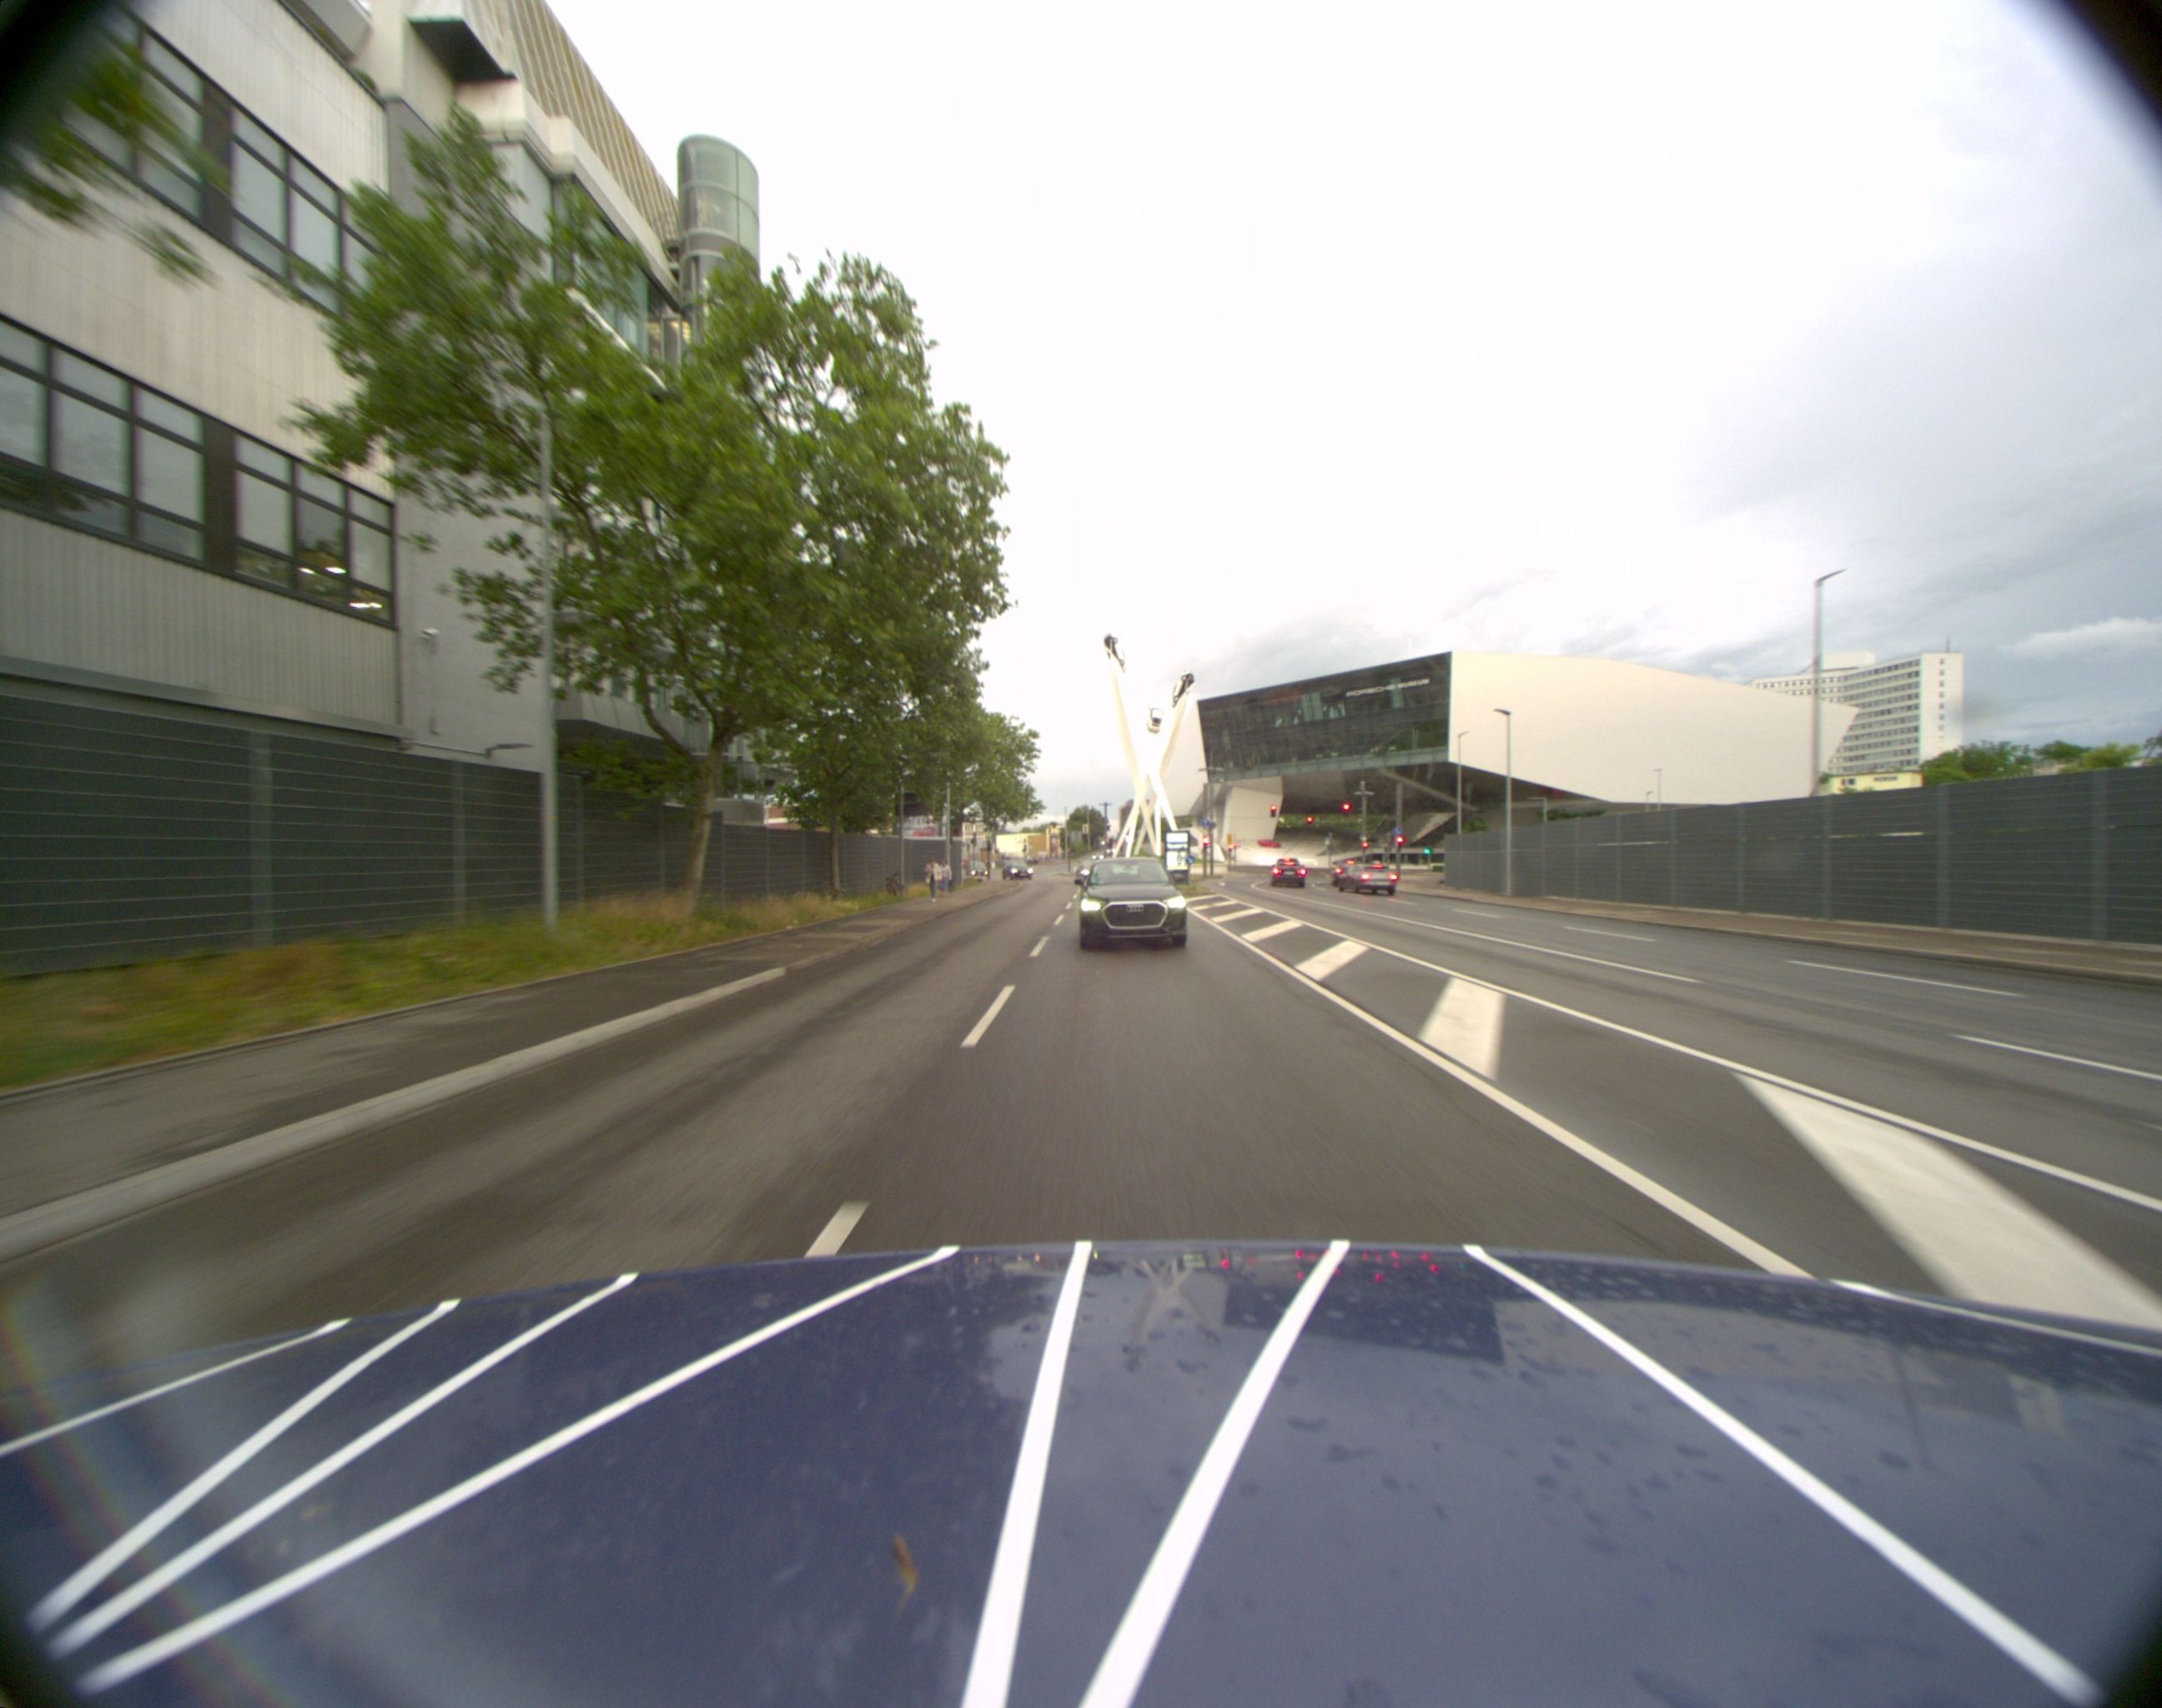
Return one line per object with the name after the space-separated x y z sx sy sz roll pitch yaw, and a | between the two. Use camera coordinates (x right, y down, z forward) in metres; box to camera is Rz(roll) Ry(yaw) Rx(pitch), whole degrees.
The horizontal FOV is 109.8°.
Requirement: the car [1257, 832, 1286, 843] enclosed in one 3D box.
32.357 -2.880 129.070 2.004 1.378 4.229 -2 9 -42 | car

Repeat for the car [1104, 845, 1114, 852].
5.945 -1.241 161.281 1.817 1.430 4.301 0 0 -1 | car

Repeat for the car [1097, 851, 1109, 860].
3.731 0.293 129.621 1.817 1.430 4.301 0 0 -1 | car

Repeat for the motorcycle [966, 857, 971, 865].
-19.785 1.294 133.756 0.523 1.326 1.669 -2 3 5 | motorcycle

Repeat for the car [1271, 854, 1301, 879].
13.727 0.794 50.669 1.785 1.579 4.572 0 0 17 | car

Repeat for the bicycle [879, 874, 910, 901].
-7.207 1.283 29.309 0.514 0.948 1.697 -1 0 -38 | bicycle

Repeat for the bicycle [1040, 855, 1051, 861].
-5.788 0.620 125.468 1.743 0.956 0.422 -1 3 12 | bicycle

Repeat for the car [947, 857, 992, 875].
-10.931 1.163 74.647 4.066 1.466 1.749 -2 3 -1 | car

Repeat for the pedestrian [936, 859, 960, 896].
-5.439 0.955 31.195 0.833 1.512 0.841 0 1 -1 | pedestrian

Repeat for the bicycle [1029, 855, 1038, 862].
-7.623 0.716 121.978 0.346 1.078 1.747 1 4 38 | bicycle

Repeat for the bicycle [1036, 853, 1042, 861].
-6.837 0.550 124.265 0.400 1.169 2.016 -1 3 14 | bicycle

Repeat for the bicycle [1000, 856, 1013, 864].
-11.540 0.976 117.519 2.077 1.124 0.420 -5 4 -39 | bicycle

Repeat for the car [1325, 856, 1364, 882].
16.106 0.871 46.560 1.785 1.446 4.565 1 0 13 | car

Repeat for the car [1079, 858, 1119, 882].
1.069 0.956 47.473 1.818 1.430 4.299 0 0 -8 | car

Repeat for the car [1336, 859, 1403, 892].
13.600 0.985 36.063 1.786 1.377 4.548 2 0 6 | car

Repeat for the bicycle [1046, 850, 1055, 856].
-5.444 -0.163 135.509 1.544 1.149 0.451 0 4 0 | bicycle

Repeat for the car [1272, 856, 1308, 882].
12.011 0.816 43.803 1.785 1.431 4.400 0 0 13 | car

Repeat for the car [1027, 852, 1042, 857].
-12.995 0.189 213.505 4.000 1.417 1.719 -2 1 -10 | car

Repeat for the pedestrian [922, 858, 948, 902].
-5.326 0.953 27.778 0.710 1.583 0.841 0 1 4 | pedestrian

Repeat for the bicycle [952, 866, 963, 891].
-5.782 1.129 35.628 0.342 1.112 1.972 0 0 -4 | bicycle

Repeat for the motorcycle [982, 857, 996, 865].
-14.346 1.079 118.191 2.090 1.139 0.489 -1 3 25 | motorcycle

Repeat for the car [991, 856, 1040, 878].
-5.180 0.986 59.587 1.698 1.499 3.999 -4 3 -42 | car

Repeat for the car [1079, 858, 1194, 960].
0.882 0.893 14.349 1.757 1.509 4.394 -3 0 0 | car

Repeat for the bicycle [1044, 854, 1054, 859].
-5.454 0.402 128.099 1.613 0.916 0.422 -1 2 16 | bicycle
